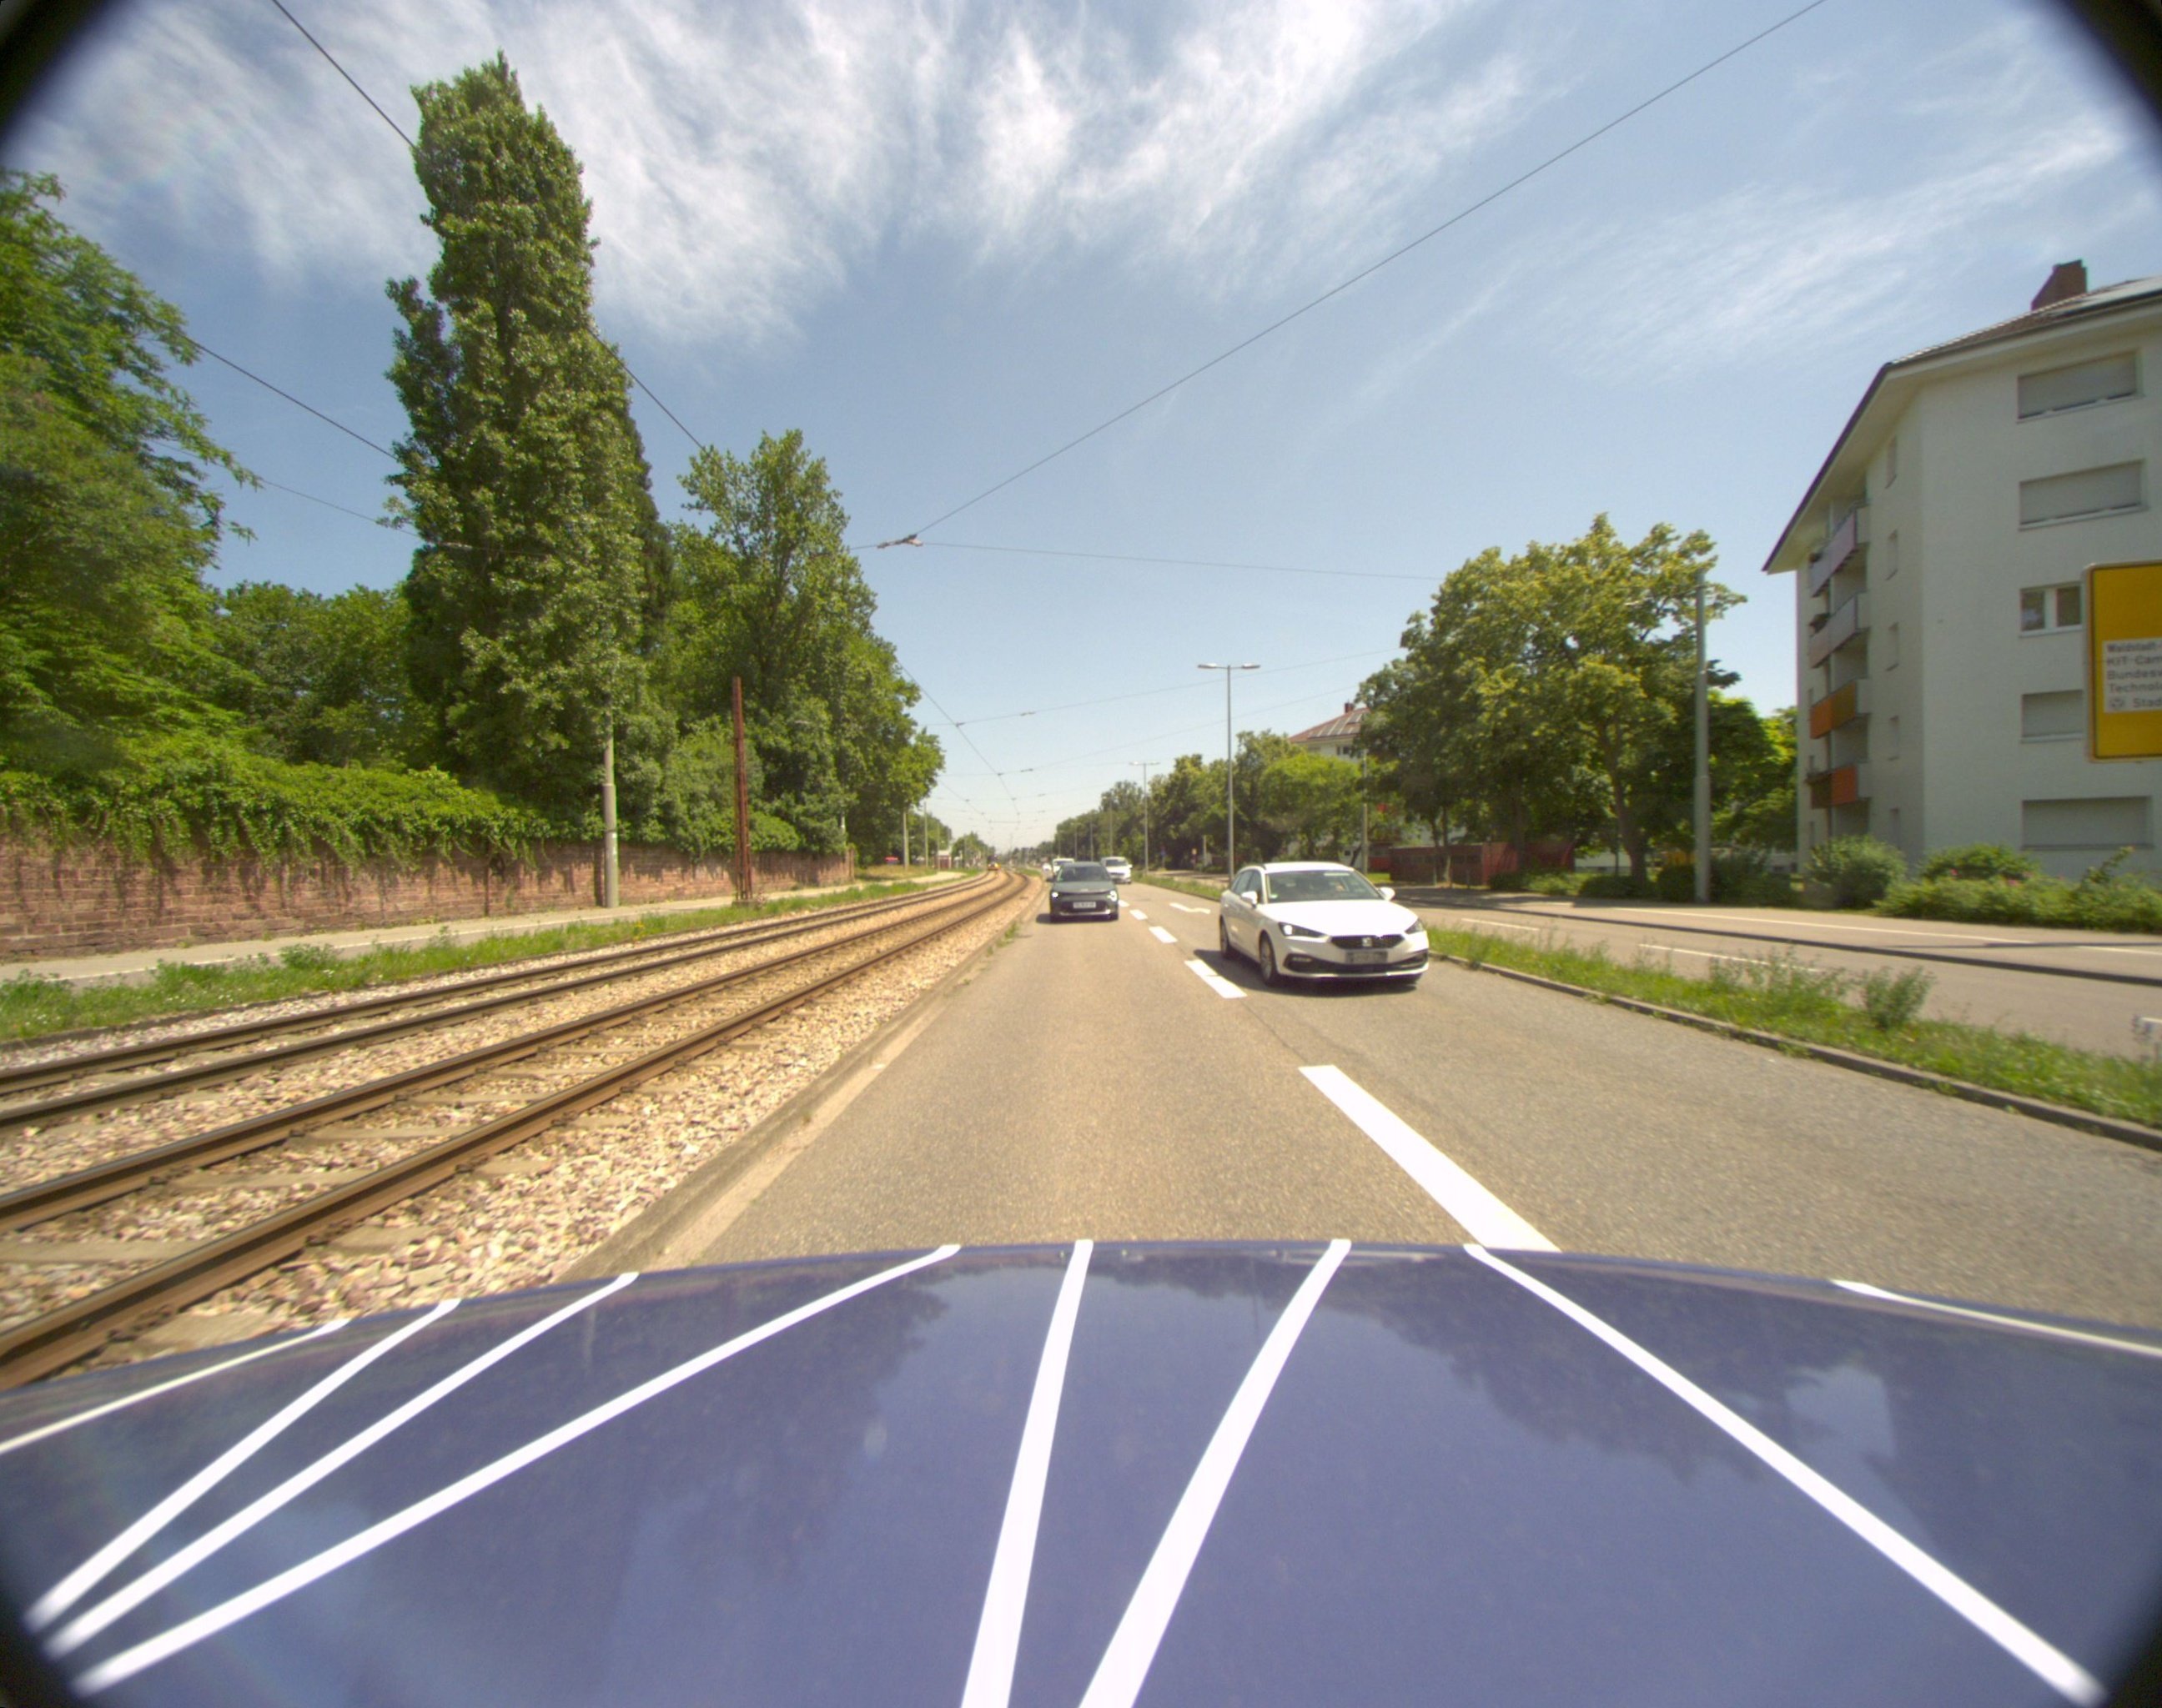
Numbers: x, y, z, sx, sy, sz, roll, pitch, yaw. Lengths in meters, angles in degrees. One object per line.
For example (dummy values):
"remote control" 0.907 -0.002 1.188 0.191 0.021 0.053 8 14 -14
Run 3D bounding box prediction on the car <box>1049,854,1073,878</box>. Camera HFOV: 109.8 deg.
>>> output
"car" -1.810 1.054 66.618 1.922 2.002 3.999 -1 0 -4

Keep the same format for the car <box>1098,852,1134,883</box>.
"car" 2.313 0.883 51.751 1.999 2.002 3.998 -1 0 -4

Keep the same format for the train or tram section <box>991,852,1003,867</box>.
"train or tram section" -19.279 1.224 175.243 2.526 3.303 7.257 -1 0 -5

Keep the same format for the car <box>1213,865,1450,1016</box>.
"car" 2.984 0.939 10.024 1.772 1.460 4.111 -2 0 1

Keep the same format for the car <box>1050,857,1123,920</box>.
"car" 0.081 0.880 21.287 1.788 1.554 4.134 -2 0 -2

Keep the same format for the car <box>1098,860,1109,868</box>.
"car" 4.746 2.120 160.096 1.928 1.616 4.754 0 0 -3
